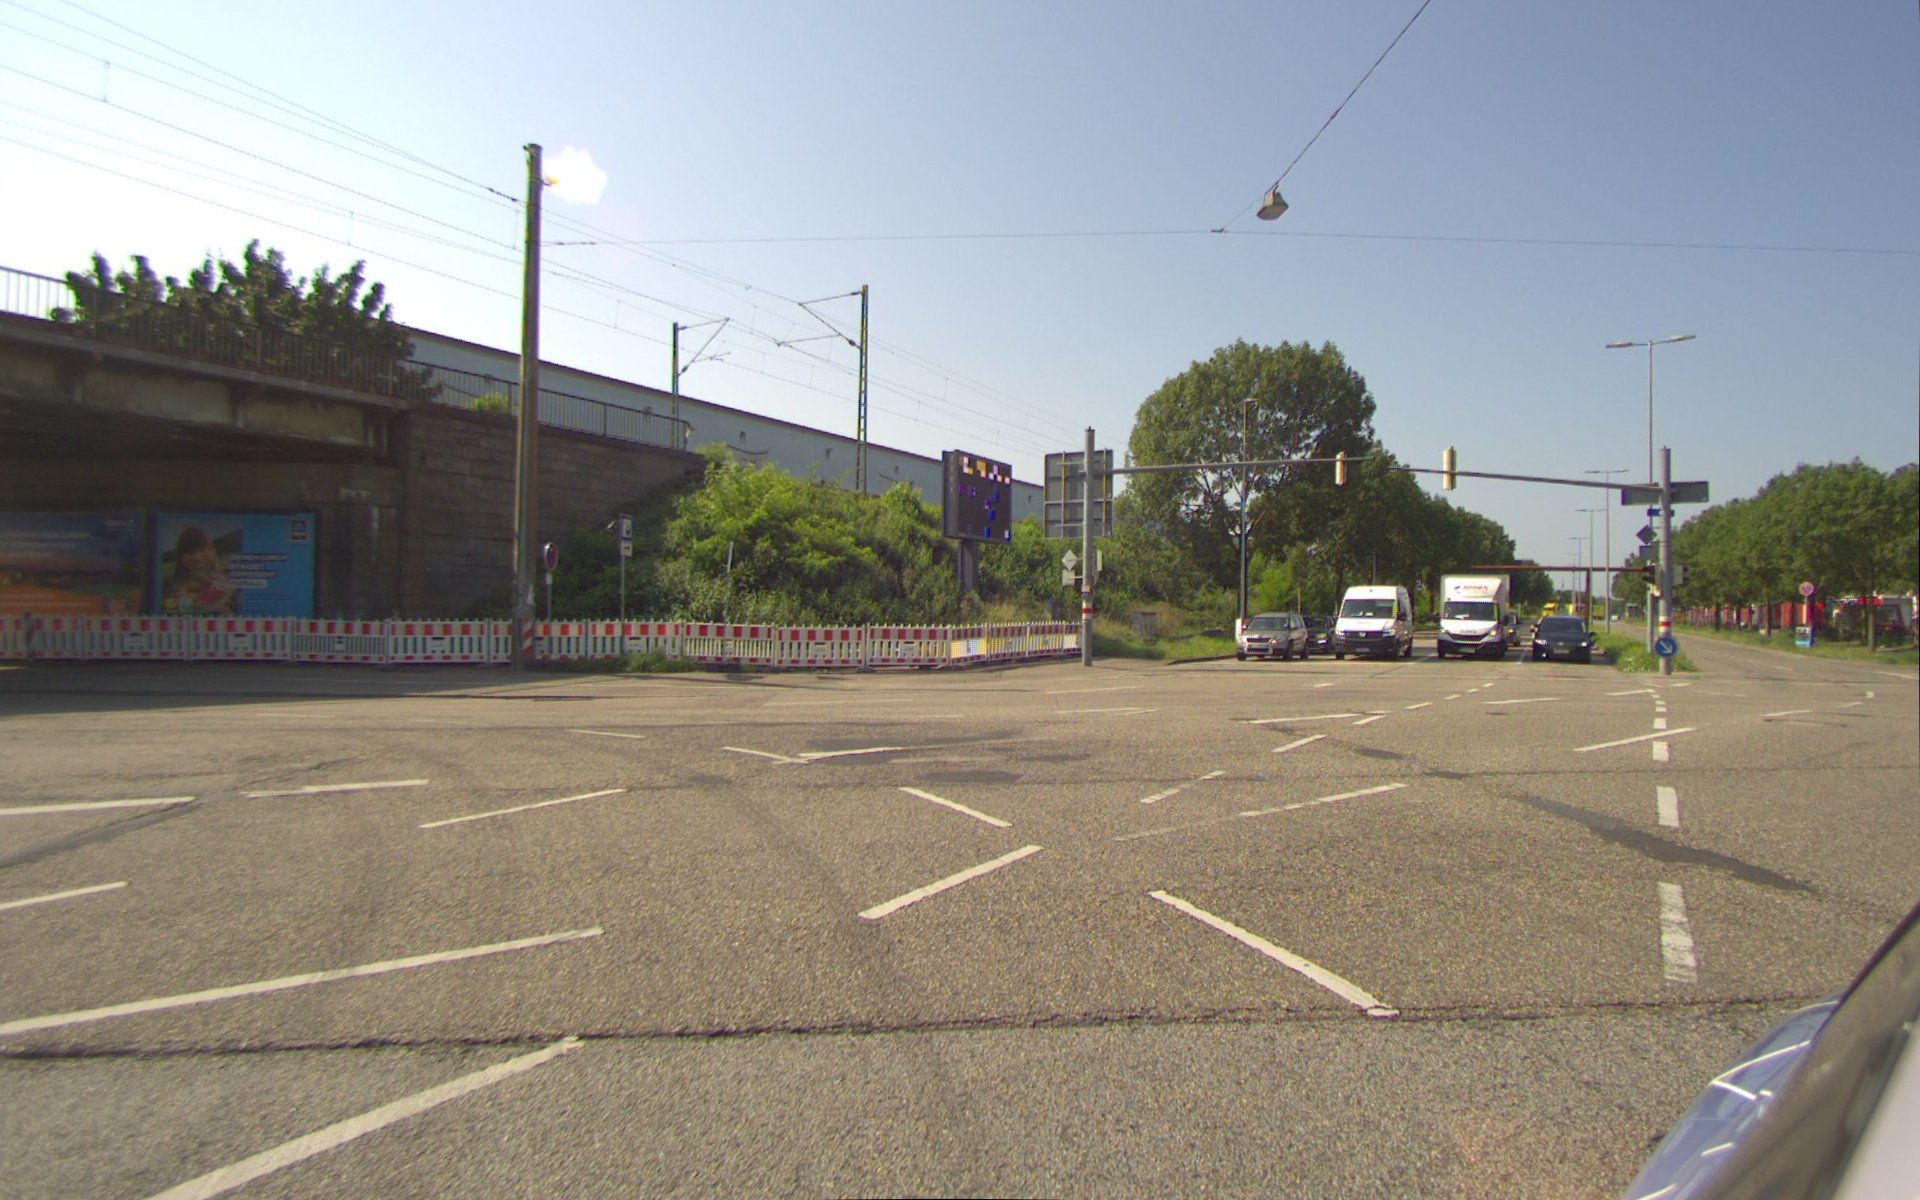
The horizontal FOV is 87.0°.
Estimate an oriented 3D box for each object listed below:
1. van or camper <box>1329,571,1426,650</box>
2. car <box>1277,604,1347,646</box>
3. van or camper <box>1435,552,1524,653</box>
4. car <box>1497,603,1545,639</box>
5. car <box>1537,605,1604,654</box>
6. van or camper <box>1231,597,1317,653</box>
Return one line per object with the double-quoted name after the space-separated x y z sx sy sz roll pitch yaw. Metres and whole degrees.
15.002 0.503 36.094 2.231 2.515 6.788 -1 -3 31 "van or camper"
13.966 0.959 40.027 1.982 1.572 3.959 -1 -1 29 "car"
19.374 0.248 37.568 2.232 3.407 6.767 -2 -3 33 "van or camper"
27.748 1.063 50.020 1.646 1.686 3.705 -2 -4 36 "car"
22.168 1.110 36.650 1.892 1.634 5.133 -2 -3 33 "car"
10.745 0.907 34.451 1.837 1.800 4.126 -1 -3 31 "van or camper"
